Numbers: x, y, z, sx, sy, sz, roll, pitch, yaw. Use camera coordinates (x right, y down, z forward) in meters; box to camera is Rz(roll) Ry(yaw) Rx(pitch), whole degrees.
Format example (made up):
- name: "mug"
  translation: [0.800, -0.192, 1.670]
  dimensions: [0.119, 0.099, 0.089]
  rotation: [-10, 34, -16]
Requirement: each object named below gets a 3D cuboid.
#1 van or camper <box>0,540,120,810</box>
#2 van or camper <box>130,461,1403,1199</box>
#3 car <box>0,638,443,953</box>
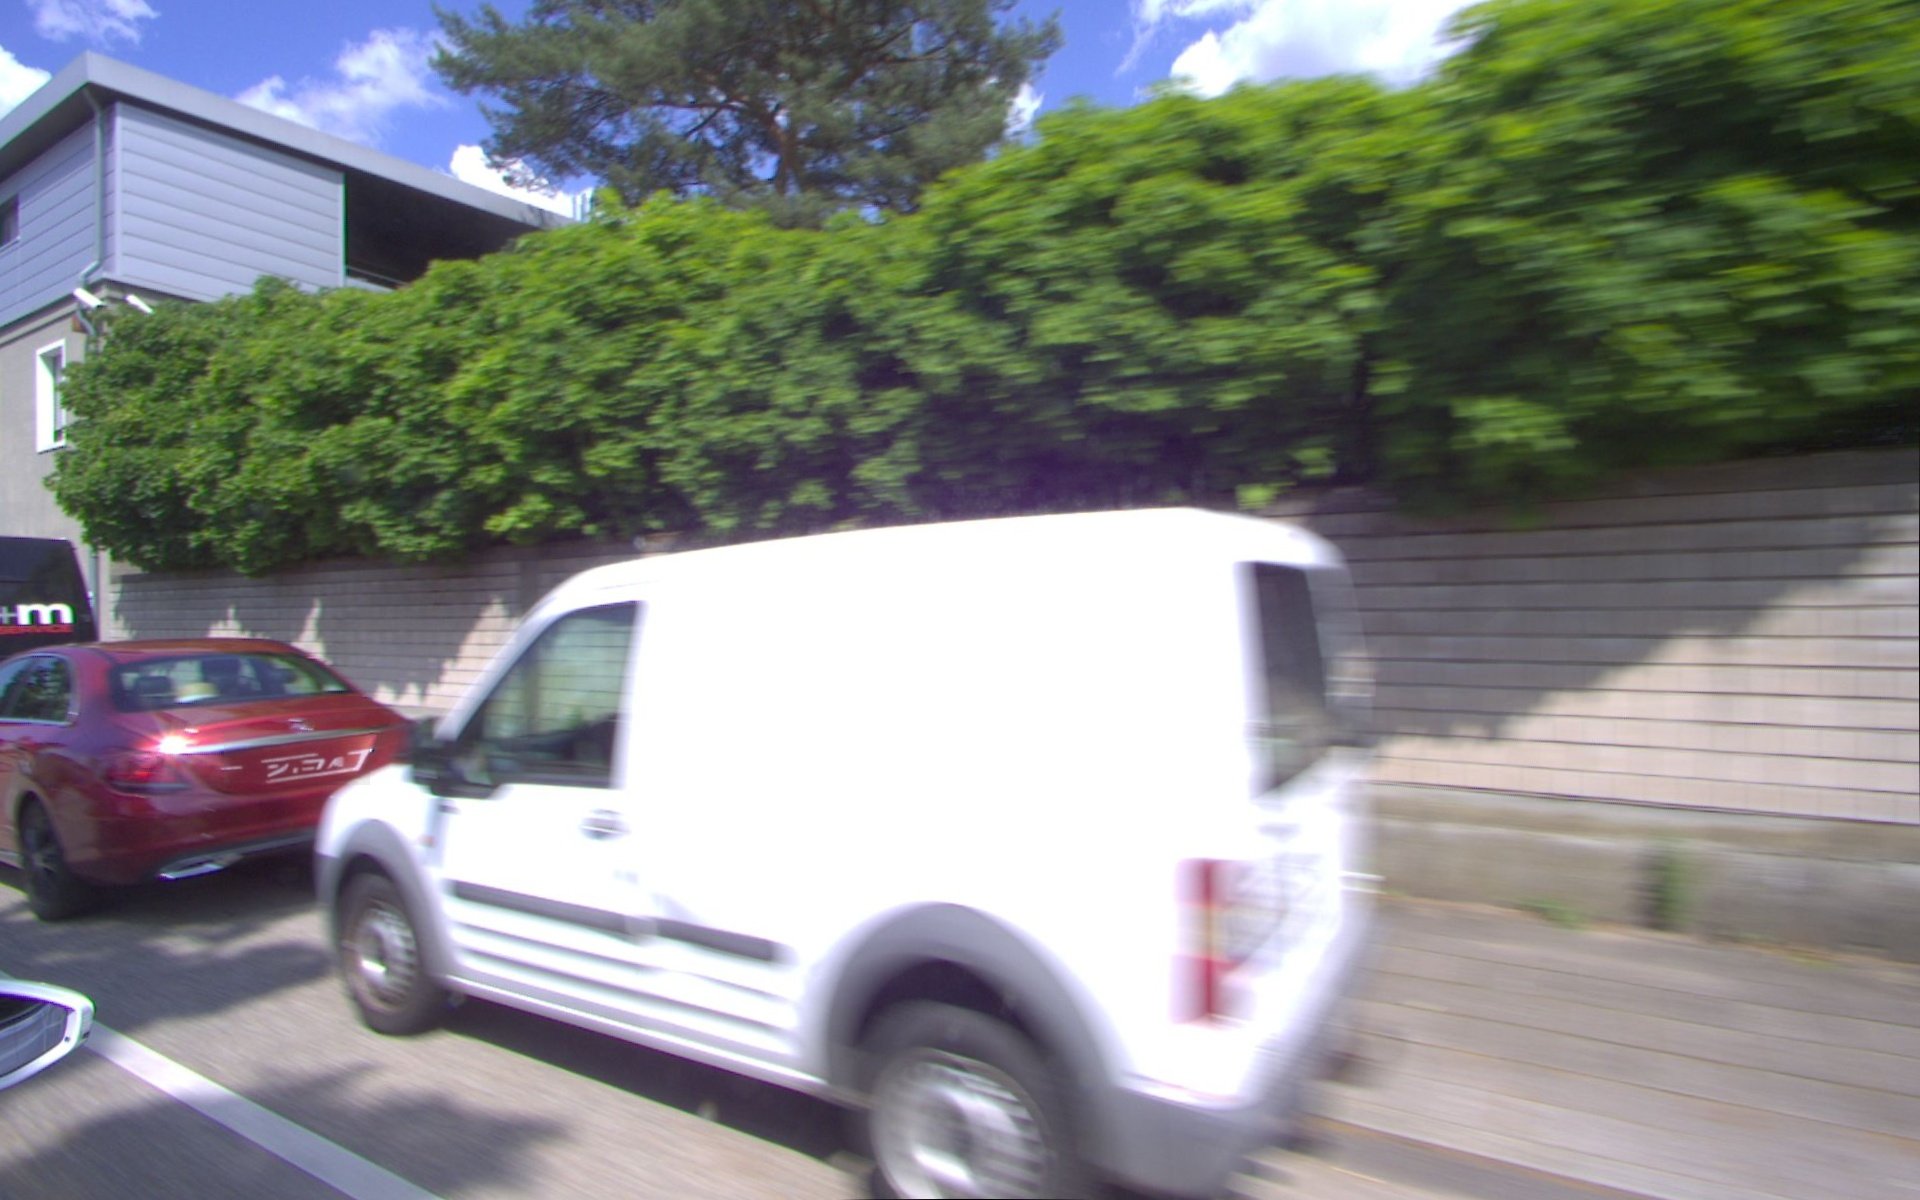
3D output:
- name: "van or camper"
  translation: [-10.651, 0.680, 9.913]
  dimensions: [5.370, 2.320, 1.991]
  rotation: [-1, -3, 32]
- name: "van or camper"
  translation: [-1.277, 0.726, 4.155]
  dimensions: [5.508, 1.828, 1.756]
  rotation: [-1, -2, 33]
- name: "car"
  translation: [-5.604, 0.995, 6.677]
  dimensions: [4.698, 1.460, 1.679]
  rotation: [-1, -2, 32]
